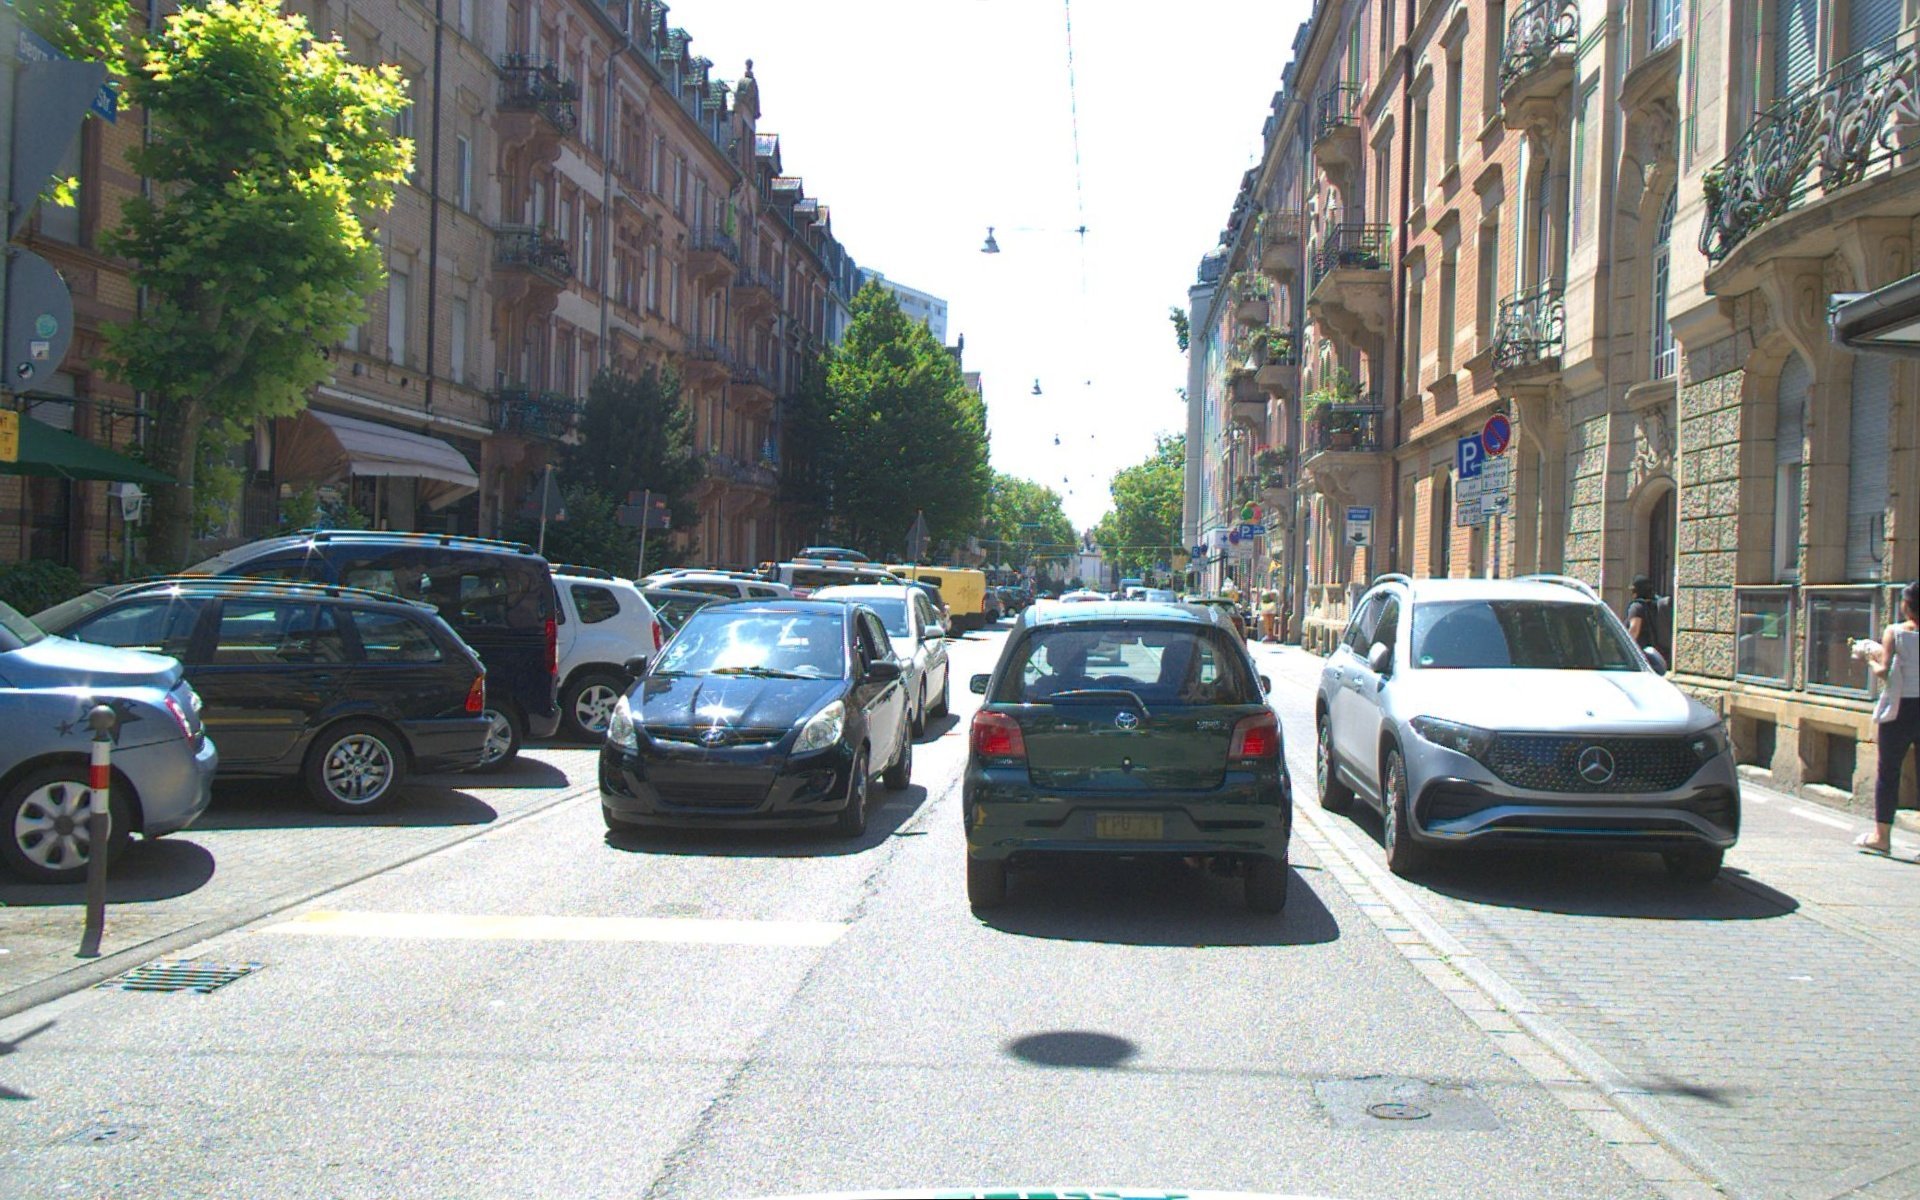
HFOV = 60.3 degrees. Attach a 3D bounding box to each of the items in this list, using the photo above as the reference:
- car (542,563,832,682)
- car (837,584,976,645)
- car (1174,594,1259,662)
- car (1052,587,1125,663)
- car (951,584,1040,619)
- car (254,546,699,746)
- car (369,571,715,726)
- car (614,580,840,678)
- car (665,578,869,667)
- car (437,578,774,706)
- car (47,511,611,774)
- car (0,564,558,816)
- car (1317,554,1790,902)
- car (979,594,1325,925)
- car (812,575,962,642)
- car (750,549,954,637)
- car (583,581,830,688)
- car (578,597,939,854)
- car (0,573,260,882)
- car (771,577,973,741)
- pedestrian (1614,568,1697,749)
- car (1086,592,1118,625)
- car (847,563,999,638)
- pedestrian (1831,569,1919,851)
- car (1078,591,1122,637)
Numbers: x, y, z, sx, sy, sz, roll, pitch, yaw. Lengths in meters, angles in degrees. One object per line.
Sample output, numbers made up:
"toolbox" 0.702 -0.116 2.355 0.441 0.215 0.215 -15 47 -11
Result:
"car" -4.085 0.348 24.936 3.878 1.647 1.843 2 0 -36
"car" -1.624 0.438 49.837 3.803 1.668 1.776 2 0 -19
"car" 5.975 0.619 38.883 1.717 1.454 4.002 1 0 5
"car" 2.844 0.505 36.611 1.490 1.547 3.266 2 1 4
"car" 1.999 0.084 92.890 4.543 1.756 1.987 2 0 -22
"car" -4.718 0.444 16.375 3.925 1.686 1.751 4 0 -18
"car" -4.717 0.539 18.632 3.565 1.483 1.616 4 0 -20
"car" -4.346 0.524 30.711 3.850 1.647 1.856 2 0 -19
"car" -3.978 0.459 33.990 3.850 1.647 1.856 2 0 -19
"car" -4.577 0.546 21.509 3.875 1.495 1.844 2 0 -34
"car" -5.029 0.363 13.369 3.939 1.835 1.754 3 0 -27
"car" -4.935 0.582 11.155 3.940 1.436 1.954 3 0 -27
"car" 3.482 0.637 10.638 1.832 1.743 4.507 0 0 6
"car" 0.905 0.733 9.268 1.580 1.511 3.241 0 0 0
"car" -2.084 0.241 46.976 3.850 1.738 1.856 2 0 -19
"car" -2.721 -0.165 41.824 4.710 2.029 2.038 2 0 -24
"car" -4.322 0.582 28.082 3.850 1.647 1.856 2 0 -19
"car" -1.228 0.737 11.801 1.717 1.469 4.002 1 0 5
"car" -5.698 0.545 8.320 3.935 1.399 1.985 3 0 -24
"car" -0.904 0.616 19.362 1.717 1.674 4.380 -1 0 5
"pedestrian" 7.014 0.570 16.704 0.502 1.781 0.749 0 1 -2
"car" 7.261 0.413 84.695 1.490 1.620 3.265 2 1 4
"car" -1.217 0.018 53.727 4.494 2.225 1.987 2 0 -22
"pedestrian" 5.842 0.653 10.092 0.627 1.652 0.804 2 0 5
"car" 5.244 0.495 61.890 1.490 1.620 3.266 2 1 6
